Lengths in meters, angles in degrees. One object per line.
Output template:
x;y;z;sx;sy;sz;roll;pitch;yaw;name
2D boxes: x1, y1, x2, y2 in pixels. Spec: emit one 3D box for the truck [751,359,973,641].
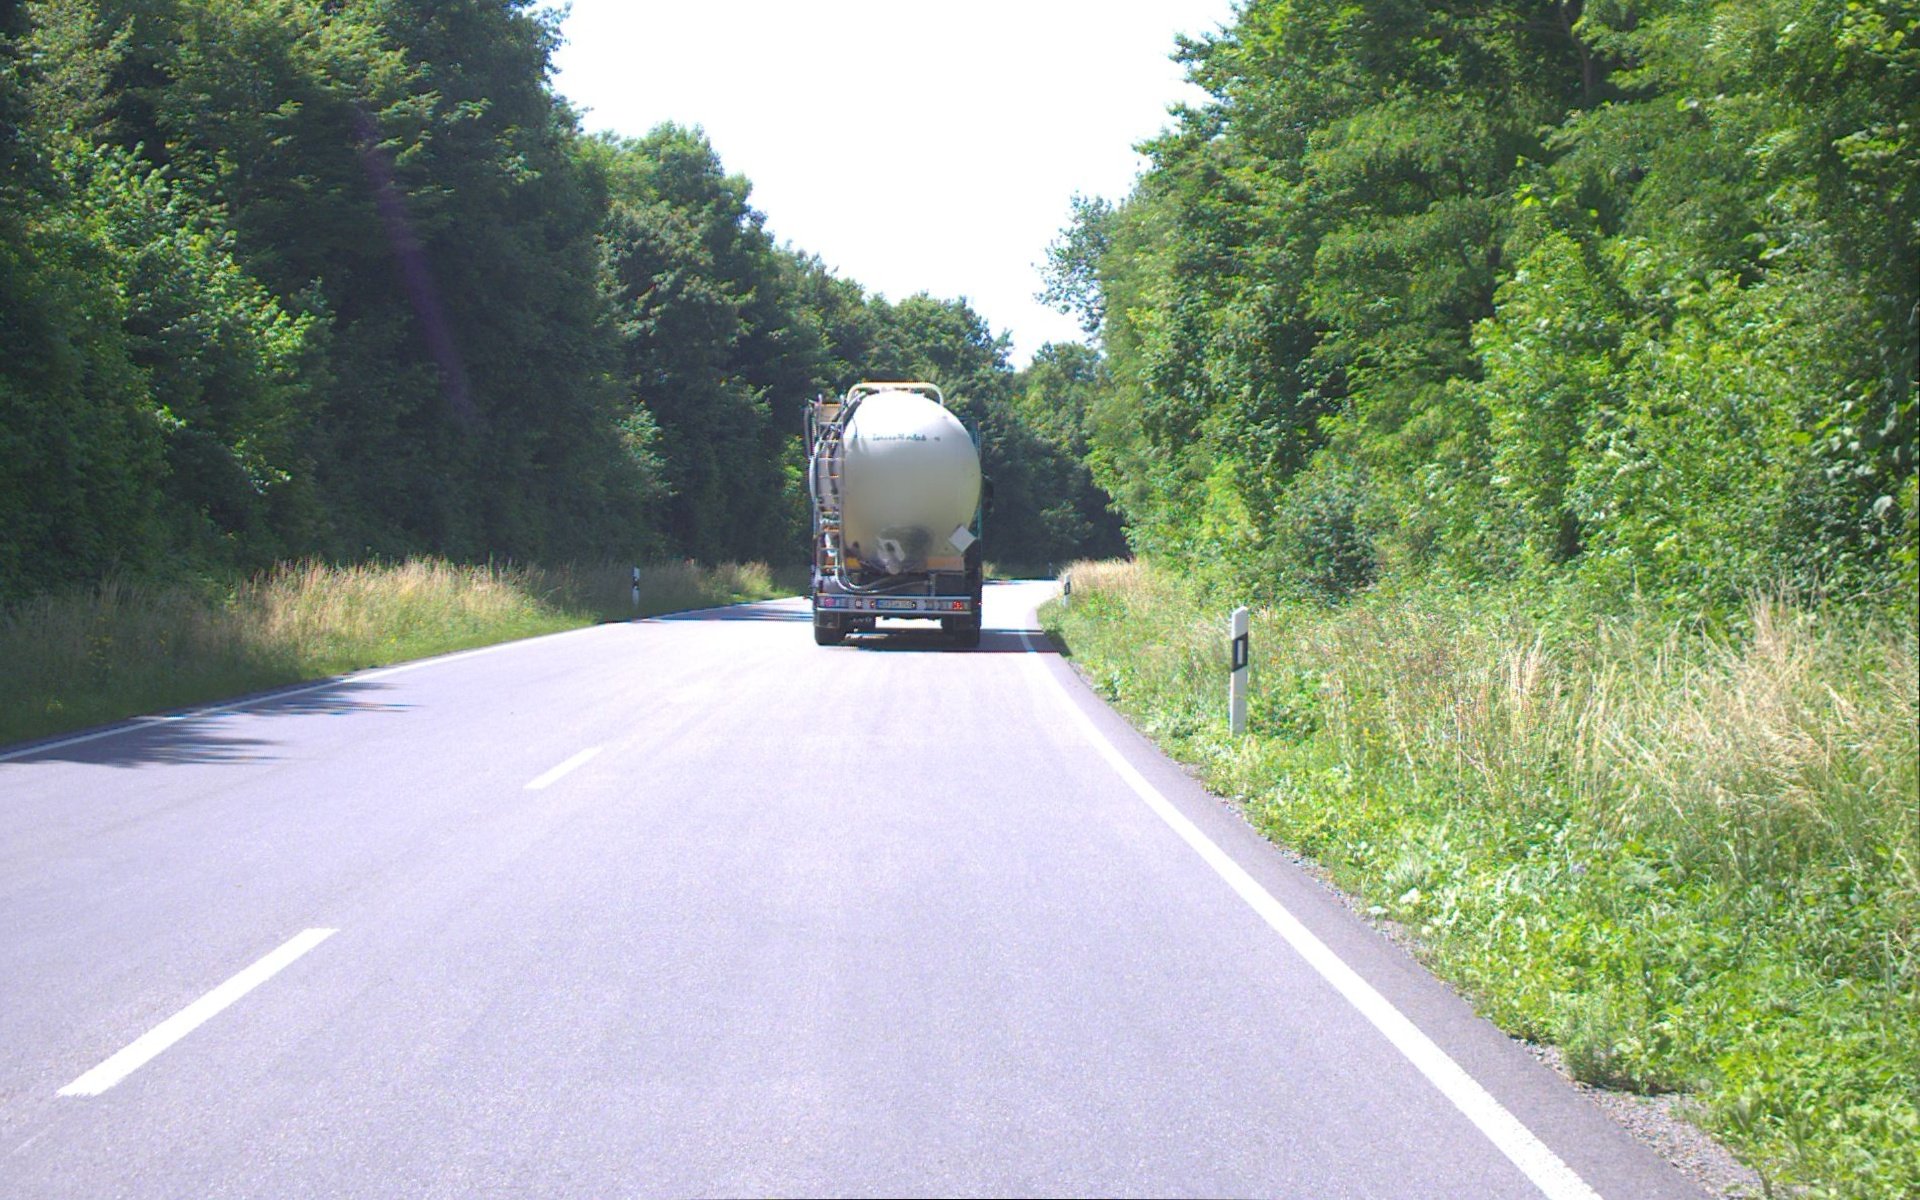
-1.381;-1.547;57.248;3.049;3.984;15.637;1;1;0;truck
